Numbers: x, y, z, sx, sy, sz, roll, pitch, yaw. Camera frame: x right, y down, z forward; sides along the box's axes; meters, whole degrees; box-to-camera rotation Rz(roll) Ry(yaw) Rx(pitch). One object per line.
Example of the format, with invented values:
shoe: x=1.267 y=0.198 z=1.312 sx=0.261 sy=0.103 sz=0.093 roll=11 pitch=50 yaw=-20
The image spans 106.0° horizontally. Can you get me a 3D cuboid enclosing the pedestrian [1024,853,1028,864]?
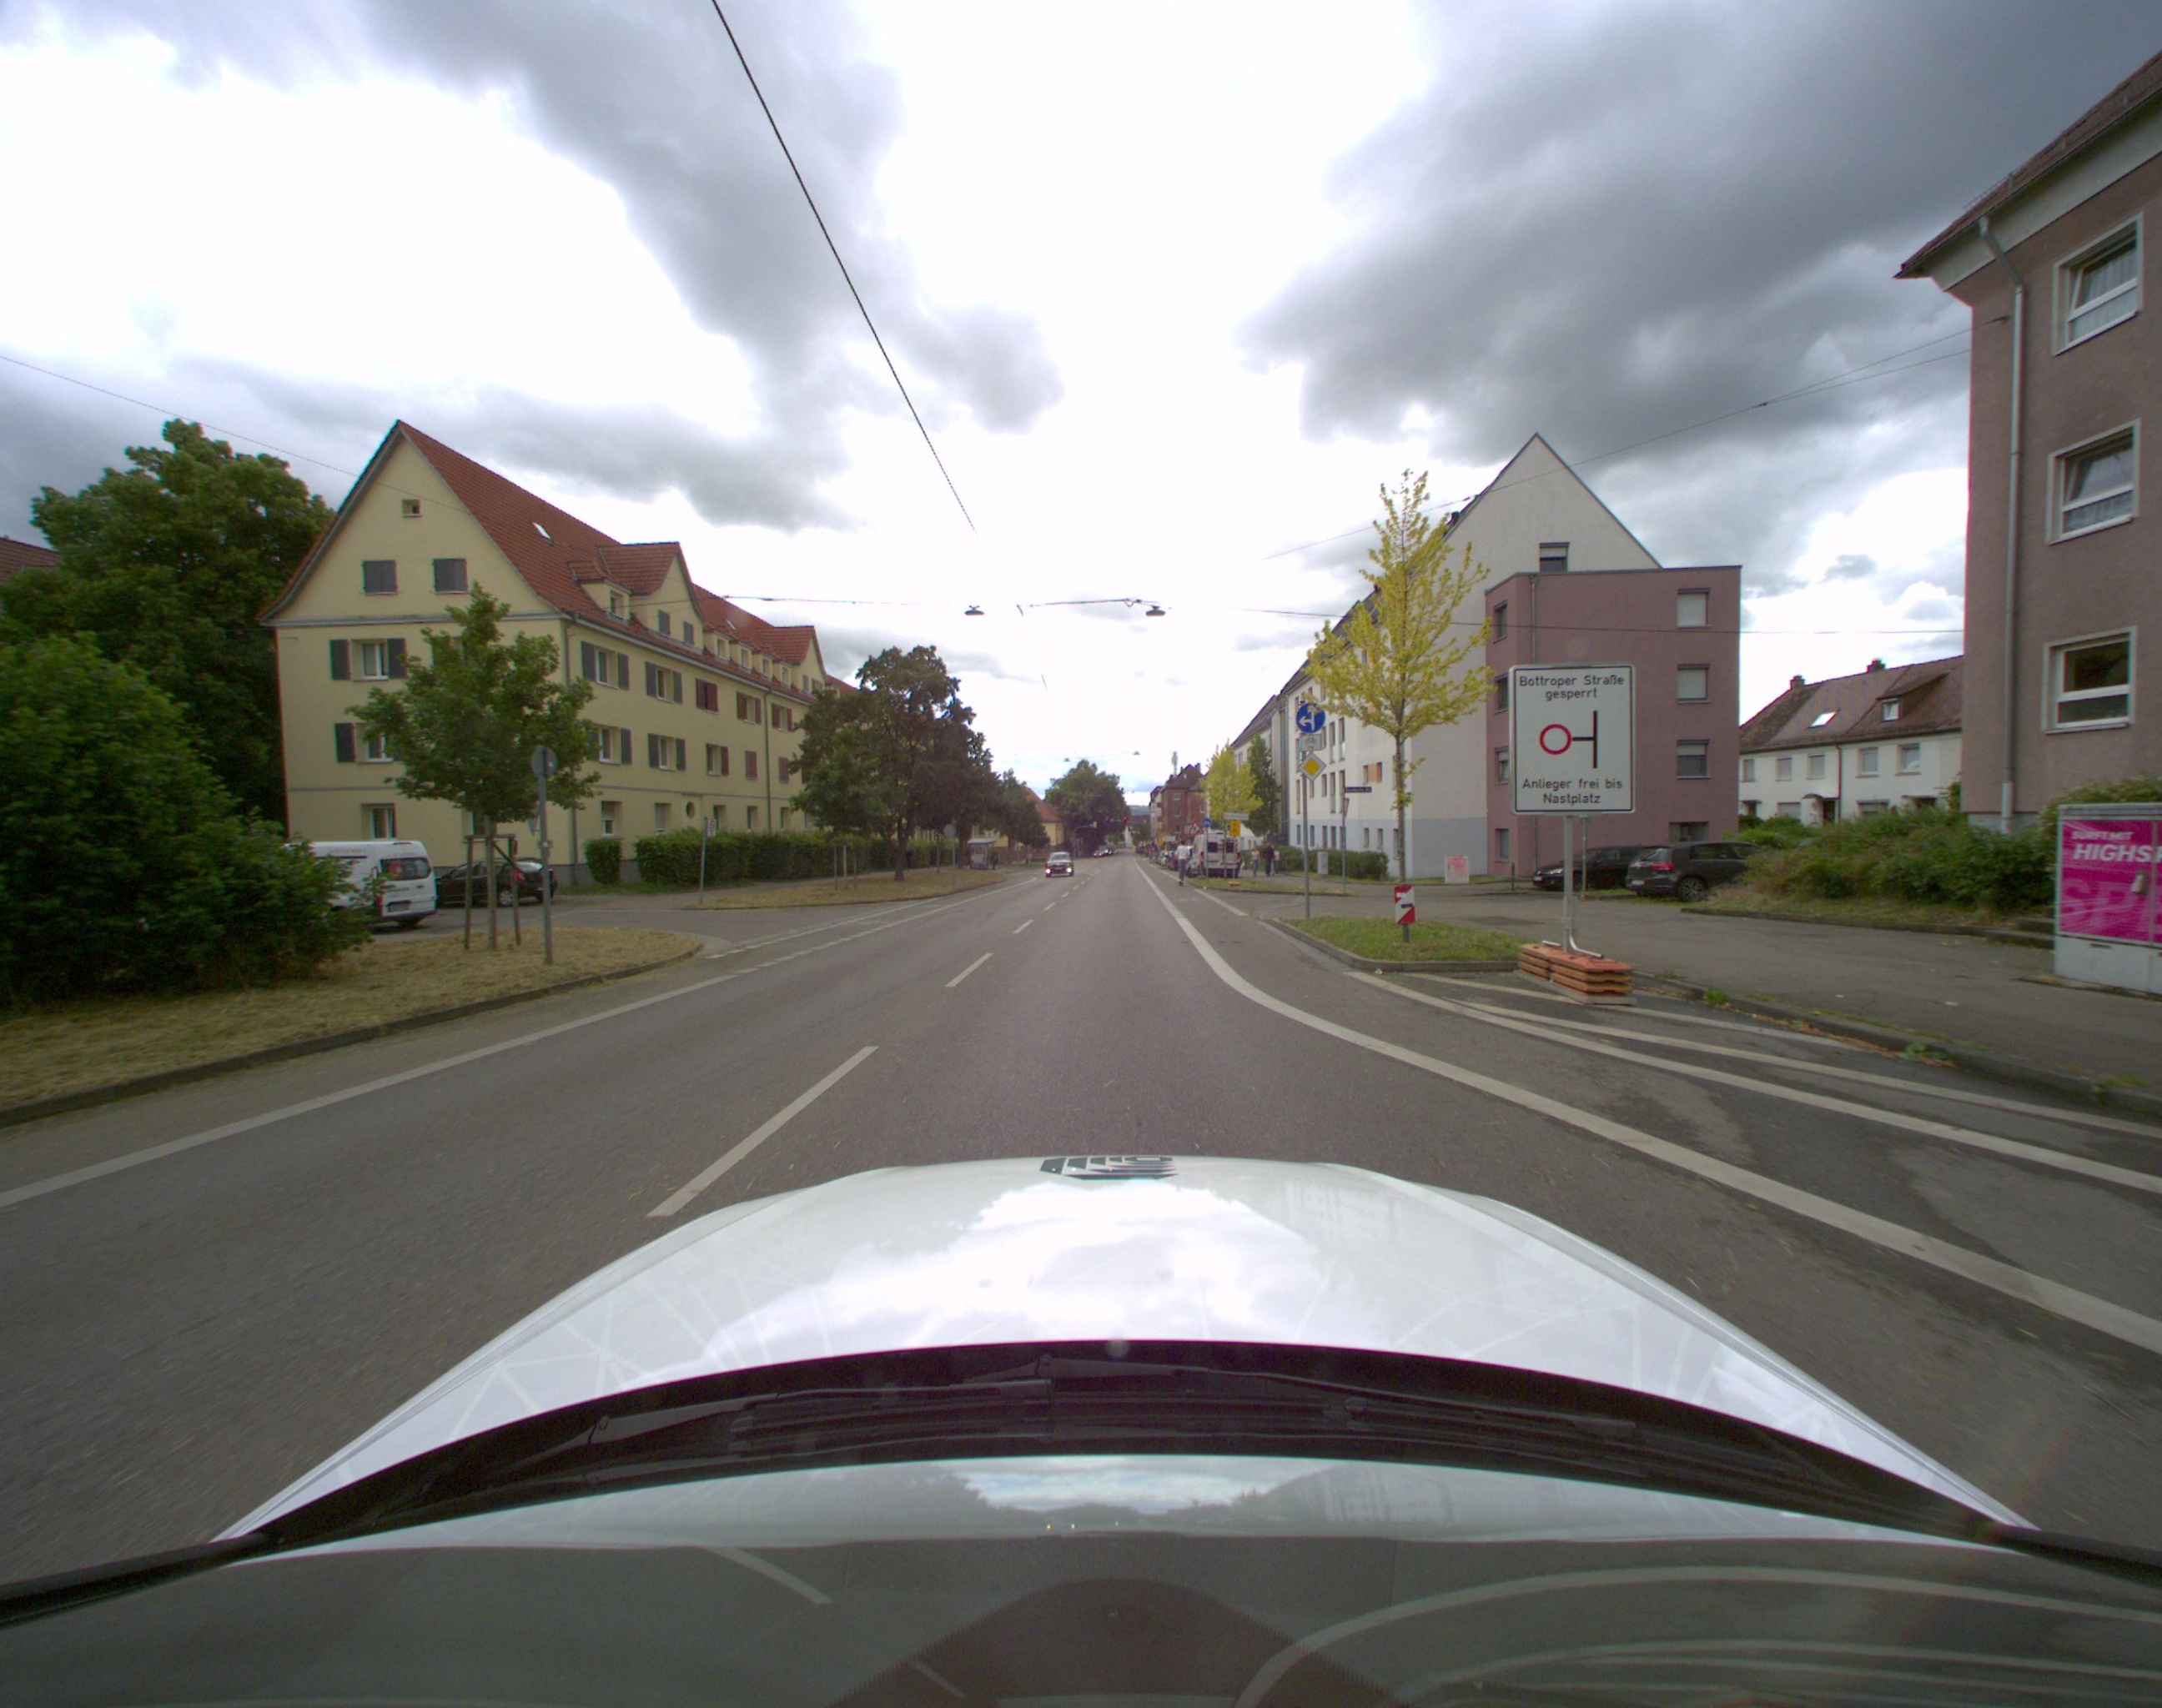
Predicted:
pedestrian: x=-8.646 y=0.732 z=128.056 sx=0.561 sy=1.777 sz=0.843 roll=-1 pitch=0 yaw=3

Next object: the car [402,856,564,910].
car: x=-19.183 y=0.902 z=26.222 sx=3.889 sy=1.529 sz=1.692 roll=-1 pitch=3 yaw=2

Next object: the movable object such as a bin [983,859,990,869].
movable object such as a bin: x=-8.481 y=0.879 z=72.895 sx=0.534 sy=0.845 sz=0.666 roll=0 pitch=0 yaw=4

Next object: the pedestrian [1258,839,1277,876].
pedestrian: x=9.921 y=0.194 z=43.295 sx=0.670 sy=1.887 sz=0.764 roll=-1 pitch=-1 yaw=-9

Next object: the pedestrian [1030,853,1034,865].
pedestrian: x=-7.662 y=0.783 z=127.657 sx=0.561 sy=1.777 sz=0.717 roll=-1 pitch=0 yaw=3

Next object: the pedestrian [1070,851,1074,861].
pedestrian: x=-1.637 y=0.401 z=149.704 sx=0.670 sy=1.765 sz=0.727 roll=-1 pitch=0 yaw=7

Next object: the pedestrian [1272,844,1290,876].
pedestrian: x=10.667 y=0.316 z=43.517 sx=0.656 sy=1.605 sz=0.574 roll=-5 pitch=0 yaw=-6

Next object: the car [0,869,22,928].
car: x=-31.082 y=1.235 z=21.593 sx=3.801 sy=1.566 sz=1.746 roll=-1 pitch=0 yaw=3

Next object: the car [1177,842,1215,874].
car: x=7.552 y=0.239 z=54.097 sx=1.985 sy=1.944 sz=5.215 roll=-1 pitch=0 yaw=2

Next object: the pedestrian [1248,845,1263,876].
pedestrian: x=9.495 y=0.341 z=44.251 sx=0.576 sy=1.644 sz=0.559 roll=-1 pitch=-1 yaw=-11

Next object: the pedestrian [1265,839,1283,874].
pedestrian: x=10.565 y=0.161 z=44.636 sx=0.671 sy=1.887 sz=0.617 roll=-1 pitch=-1 yaw=-14

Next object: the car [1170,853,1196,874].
car: x=8.130 y=0.744 z=65.402 sx=1.674 sy=1.544 sz=4.341 roll=0 pitch=0 yaw=2

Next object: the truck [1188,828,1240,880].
truck: x=7.050 y=-0.017 z=43.651 sx=2.044 sy=2.565 sz=5.693 roll=-1 pitch=0 yaw=2

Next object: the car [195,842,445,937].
car: x=-19.630 y=0.880 z=21.154 sx=4.698 sy=2.253 sz=1.997 roll=-1 pitch=0 yaw=3

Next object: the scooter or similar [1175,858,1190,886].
scooter or similar: x=4.470 y=0.761 z=35.961 sx=0.488 sy=1.163 sz=2.076 roll=-1 pitch=0 yaw=3

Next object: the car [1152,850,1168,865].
car: x=9.399 y=0.444 z=97.376 sx=1.652 sy=1.716 sz=4.554 roll=0 pitch=0 yaw=2

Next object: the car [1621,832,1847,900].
car: x=15.516 y=0.308 z=19.508 sx=3.970 sy=1.453 sz=1.689 roll=-2 pitch=-2 yaw=3

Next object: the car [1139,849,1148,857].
car: x=16.208 y=-0.231 z=210.858 sx=1.987 sy=1.935 sz=4.919 roll=-1 pitch=0 yaw=0

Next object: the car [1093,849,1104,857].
car: x=3.300 y=-0.248 z=152.685 sx=1.747 sy=1.472 sz=4.314 roll=-2 pitch=0 yaw=6

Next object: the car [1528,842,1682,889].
car: x=17.369 y=0.369 z=27.143 sx=3.969 sy=1.456 sz=1.762 roll=-1 pitch=0 yaw=4

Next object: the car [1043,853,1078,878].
car: x=-1.344 y=0.738 z=54.599 sx=1.891 sy=1.620 sz=4.366 roll=-1 pitch=0 yaw=4

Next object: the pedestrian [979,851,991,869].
pedestrian: x=-8.626 y=0.534 z=73.021 sx=0.895 sy=1.509 sz=0.807 roll=0 pitch=0 yaw=3

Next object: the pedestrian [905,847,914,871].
pedestrian: x=-12.759 y=0.368 z=60.568 sx=0.511 sy=1.779 sz=0.754 roll=-1 pitch=0 yaw=3

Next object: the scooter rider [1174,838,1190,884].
scooter rider: x=4.441 y=0.316 z=35.986 sx=0.623 sy=2.013 sz=0.758 roll=-1 pitch=0 yaw=2

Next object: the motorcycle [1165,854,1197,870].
motorcycle: x=8.406 y=0.693 z=68.368 sx=2.590 sy=1.278 sz=0.753 roll=-1 pitch=0 yaw=-2

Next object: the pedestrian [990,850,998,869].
pedestrian: x=-8.039 y=0.519 z=75.245 sx=0.594 sy=1.727 sz=0.862 roll=0 pitch=0 yaw=6
